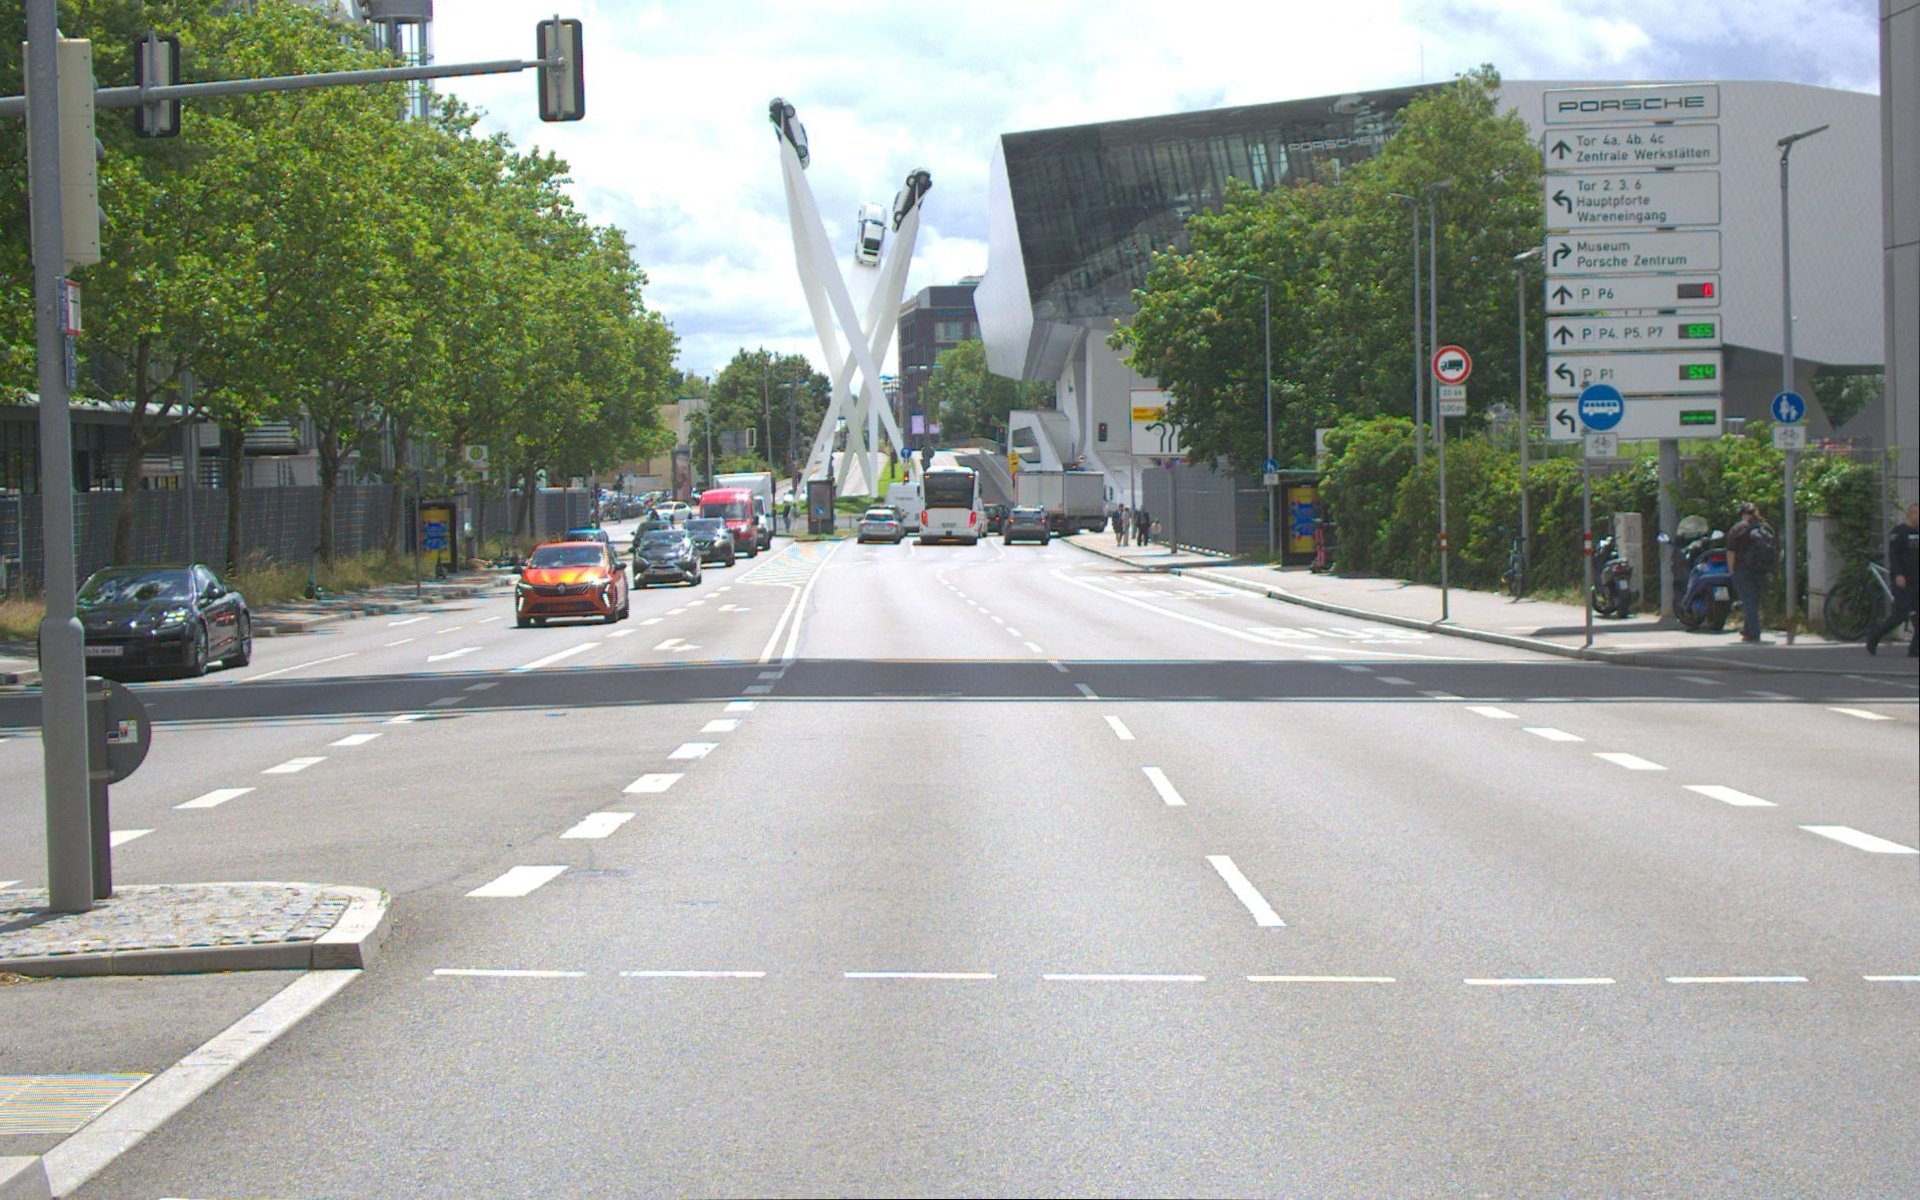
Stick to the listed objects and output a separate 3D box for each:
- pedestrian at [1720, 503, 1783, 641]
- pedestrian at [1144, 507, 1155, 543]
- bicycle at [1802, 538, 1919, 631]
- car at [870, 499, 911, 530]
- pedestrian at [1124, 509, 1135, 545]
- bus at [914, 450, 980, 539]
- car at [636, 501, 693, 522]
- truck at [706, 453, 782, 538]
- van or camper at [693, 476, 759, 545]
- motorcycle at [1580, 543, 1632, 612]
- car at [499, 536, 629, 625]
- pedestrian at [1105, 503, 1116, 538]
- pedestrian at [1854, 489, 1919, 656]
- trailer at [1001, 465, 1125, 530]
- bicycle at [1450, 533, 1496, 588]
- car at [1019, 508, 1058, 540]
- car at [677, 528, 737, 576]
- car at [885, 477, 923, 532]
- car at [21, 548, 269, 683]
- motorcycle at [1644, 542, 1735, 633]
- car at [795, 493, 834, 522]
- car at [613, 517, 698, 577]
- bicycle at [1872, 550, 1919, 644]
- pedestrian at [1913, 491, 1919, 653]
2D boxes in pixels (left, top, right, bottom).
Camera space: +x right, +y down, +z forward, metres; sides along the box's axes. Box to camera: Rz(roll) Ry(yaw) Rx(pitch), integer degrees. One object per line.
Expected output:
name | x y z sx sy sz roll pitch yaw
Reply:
pedestrian | 9.515 -0.335 41.344 0.533 1.635 0.658 1 0 -6
pedestrian | 7.472 -2.966 135.612 0.386 1.416 0.423 1 0 0
bicycle | 11.168 -0.180 40.880 2.222 1.083 0.476 1 1 35
car | -2.986 -3.698 148.654 1.557 1.269 3.701 -3 1 1
pedestrian | 6.700 -2.889 136.170 0.386 1.416 0.423 1 0 0
bus | -0.548 -4.558 149.945 2.787 3.673 6.943 1 1 0
car | -19.877 -5.975 231.255 1.561 1.269 3.692 -1 2 44
truck | -8.797 -4.231 140.832 2.591 3.312 7.079 1 1 0
van or camper | -8.532 -3.280 125.762 2.047 2.458 5.595 0 1 0
motorcycle | 9.763 -0.349 52.017 0.457 1.019 1.912 1 1 1
car | -6.898 -0.361 60.231 1.769 1.415 3.701 -3 1 0
pedestrian | 6.031 -3.179 137.580 0.386 1.416 0.423 1 0 0
pedestrian | 10.301 -0.305 37.635 0.641 1.787 0.712 -3 1 -16
trailer | 5.240 -5.085 172.070 3.322 2.984 10.366 1 1 19
bicycle | 9.734 -0.747 65.274 0.418 1.019 1.913 1 1 -5
car | 3.326 -3.220 146.165 1.557 1.269 3.701 -3 1 1
car | -8.104 -1.546 110.365 1.557 1.443 3.773 -3 1 0
car | -2.812 -4.741 171.141 1.843 2.614 4.000 1 1 -1
car | -10.217 0.152 43.478 1.917 1.483 4.772 -3 1 0
motorcycle | 9.544 -0.170 45.034 0.418 1.162 1.957 1 1 -11
car | -6.575 -4.180 155.597 1.557 1.269 3.701 -3 1 0
car | -7.798 -1.372 88.226 1.769 1.415 3.701 -3 1 0
bicycle | 11.660 -0.023 39.550 2.222 1.083 0.476 1 1 35
pedestrian | 11.007 -0.326 37.786 0.691 1.787 0.712 -3 1 -16
